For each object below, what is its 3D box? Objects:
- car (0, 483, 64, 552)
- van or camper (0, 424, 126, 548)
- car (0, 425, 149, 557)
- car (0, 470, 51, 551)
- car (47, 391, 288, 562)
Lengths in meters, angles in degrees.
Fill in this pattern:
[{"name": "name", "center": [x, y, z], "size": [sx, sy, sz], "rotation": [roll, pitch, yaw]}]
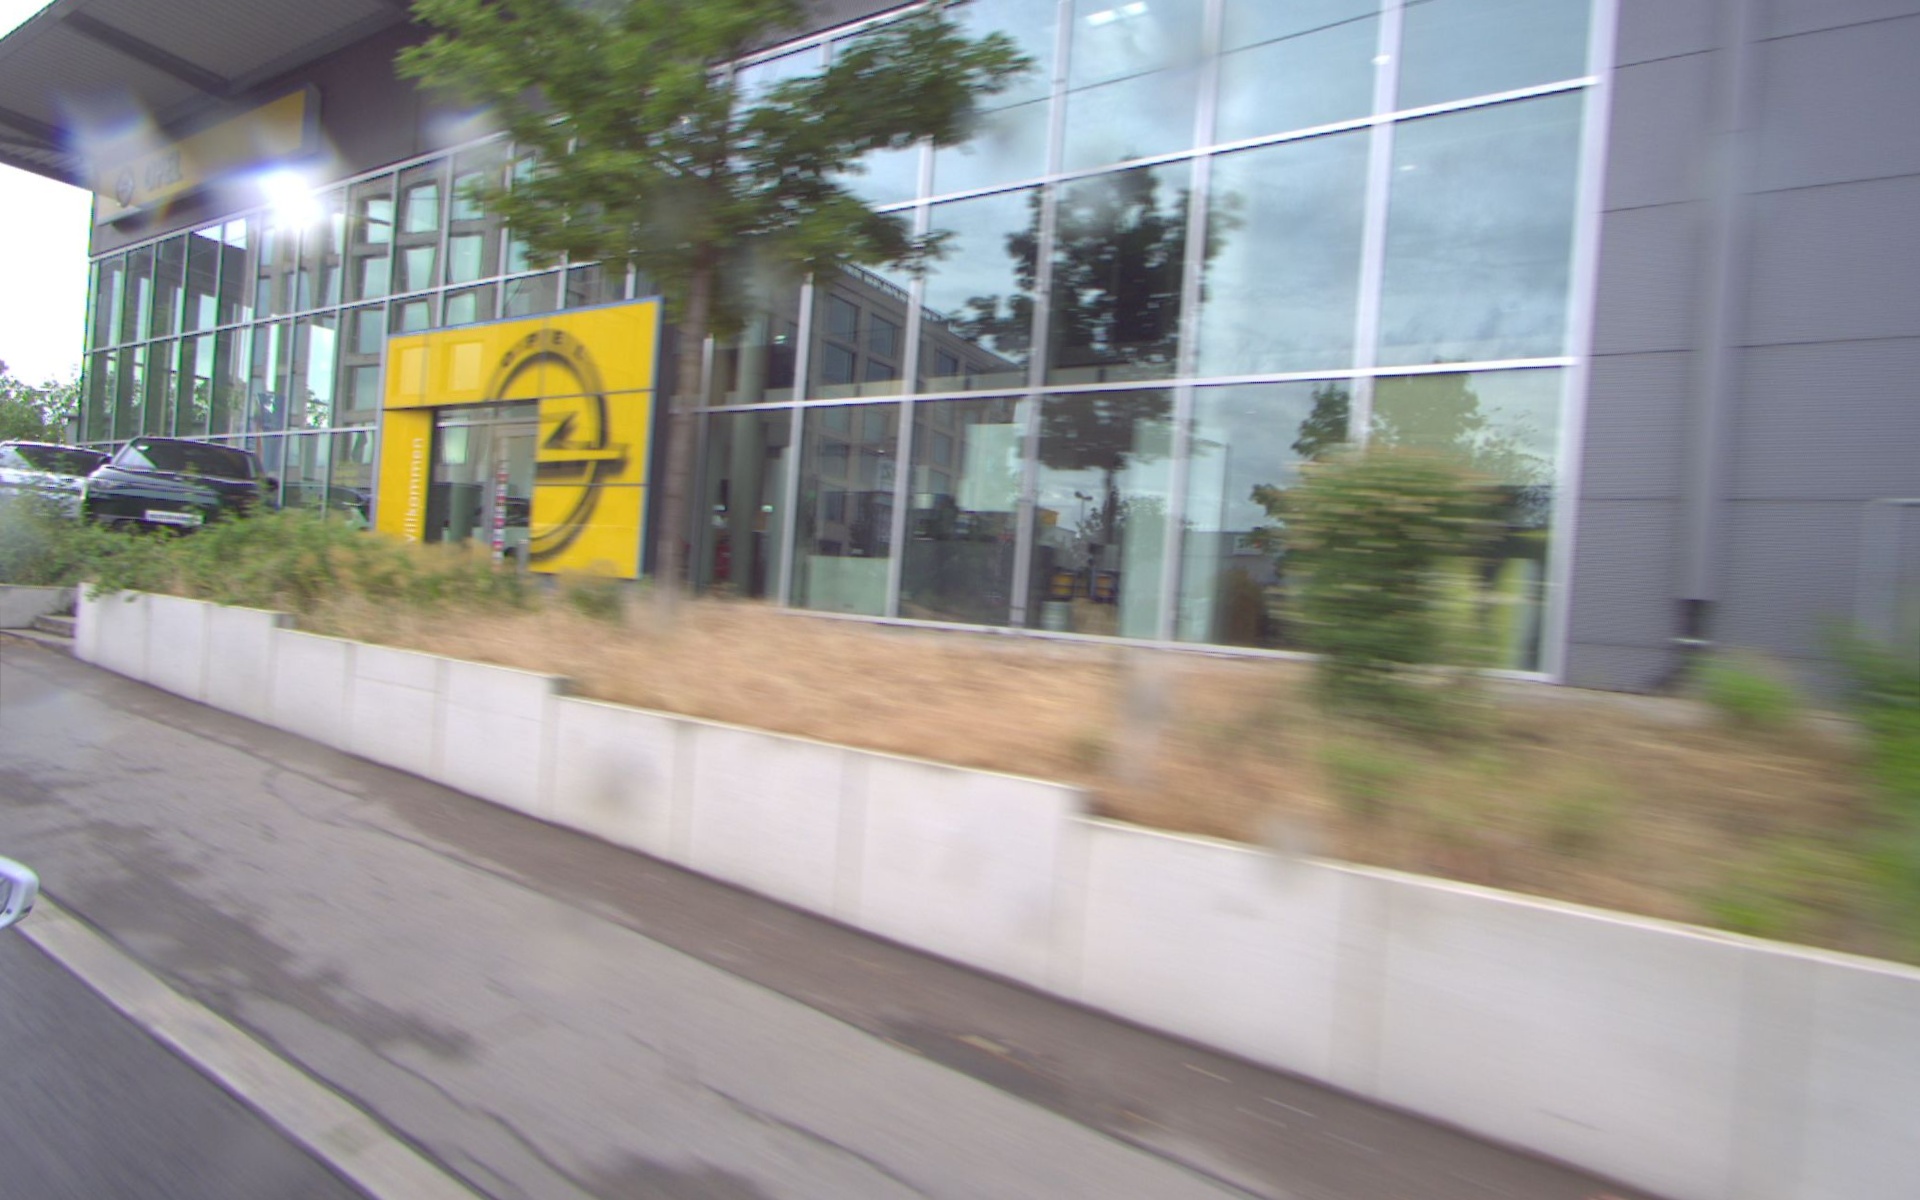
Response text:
[{"name": "car", "center": [-22.190, -1.929, 21.893], "size": [1.883, 1.473, 4.509], "rotation": [4, 0, -11]}, {"name": "van or camper", "center": [-24.949, -3.094, 25.113], "size": [2.313, 2.756, 5.745], "rotation": [6, -1, 31]}, {"name": "car", "center": [-14.451, -1.646, 16.021], "size": [1.980, 1.733, 4.536], "rotation": [4, 1, -35]}, {"name": "car", "center": [-18.904, -1.734, 18.799], "size": [1.894, 1.473, 4.537], "rotation": [4, 0, -30]}, {"name": "car", "center": [-10.416, -1.476, 13.582], "size": [1.977, 1.733, 4.393], "rotation": [4, 1, -32]}]
